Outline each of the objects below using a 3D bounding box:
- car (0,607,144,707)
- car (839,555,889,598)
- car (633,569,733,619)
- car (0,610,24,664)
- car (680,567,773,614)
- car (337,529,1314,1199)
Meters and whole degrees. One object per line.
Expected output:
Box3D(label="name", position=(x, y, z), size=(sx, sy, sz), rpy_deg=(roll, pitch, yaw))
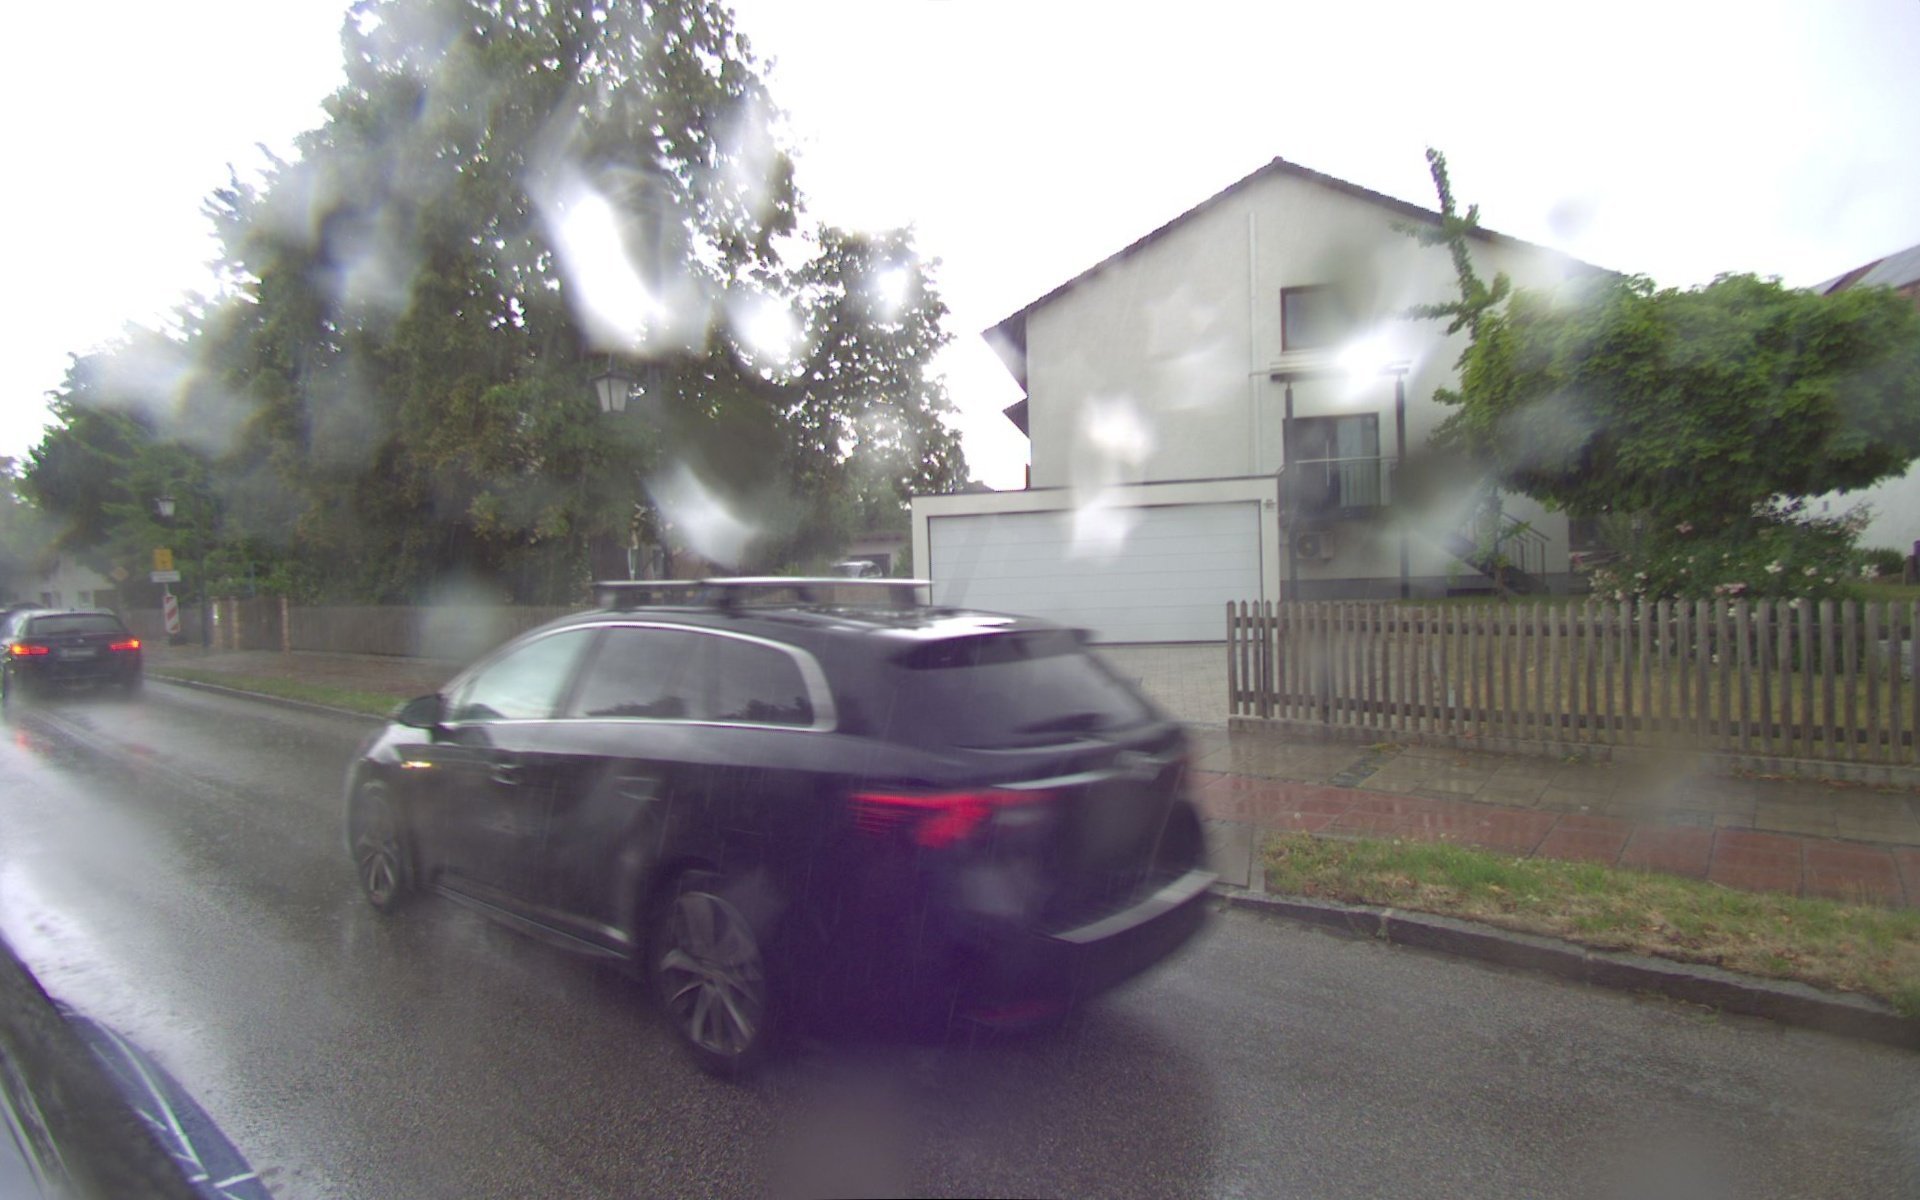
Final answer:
Box3D(label="car", position=(-15.893, 0.908, 17.641), size=(4.371, 1.476, 1.762), rpy_deg=(-1, 1, 40))
Box3D(label="car", position=(-5.353, -1.263, 56.810), size=(1.767, 2.311, 3.838), rpy_deg=(-1, 0, 11))
Box3D(label="car", position=(-11.770, -0.275, 43.160), size=(3.613, 1.815, 1.839), rpy_deg=(-3, 2, 7))
Box3D(label="car", position=(-28.392, 1.069, 29.116), size=(3.998, 1.476, 1.691), rpy_deg=(-1, 1, 41))
Box3D(label="car", position=(-10.566, -0.447, 45.989), size=(3.613, 1.815, 1.839), rpy_deg=(-3, 2, 7))
Box3D(label="car", position=(-0.928, 0.662, 4.148), size=(4.186, 1.532, 1.621), rpy_deg=(-2, -1, 41))
